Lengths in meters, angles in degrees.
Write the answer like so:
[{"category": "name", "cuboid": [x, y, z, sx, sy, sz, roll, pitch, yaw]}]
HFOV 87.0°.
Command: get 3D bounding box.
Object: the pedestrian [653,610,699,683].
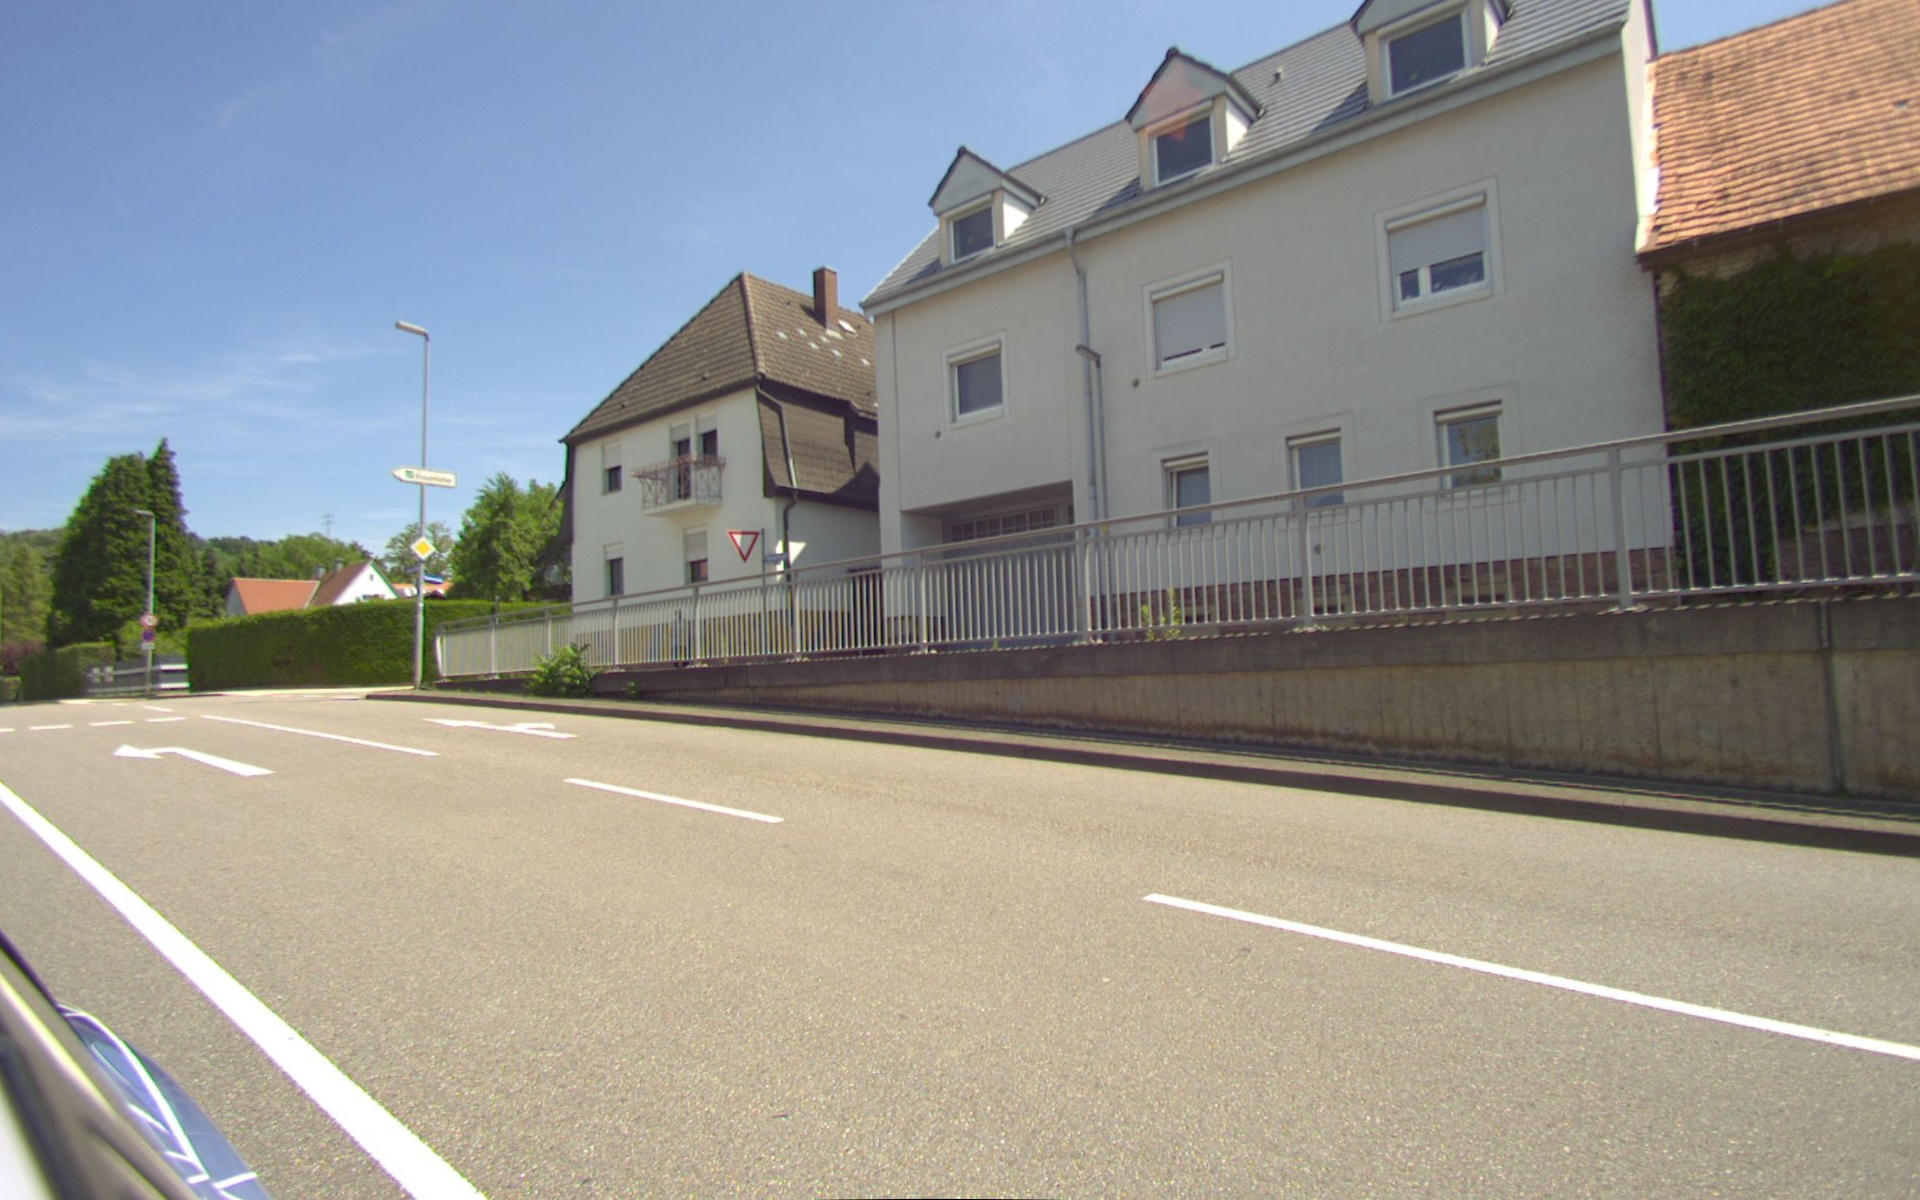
[{"category": "pedestrian", "cuboid": [-6.974, 1.140, 24.843, 0.855, 1.742, 0.720, -2, -2, 38]}]
